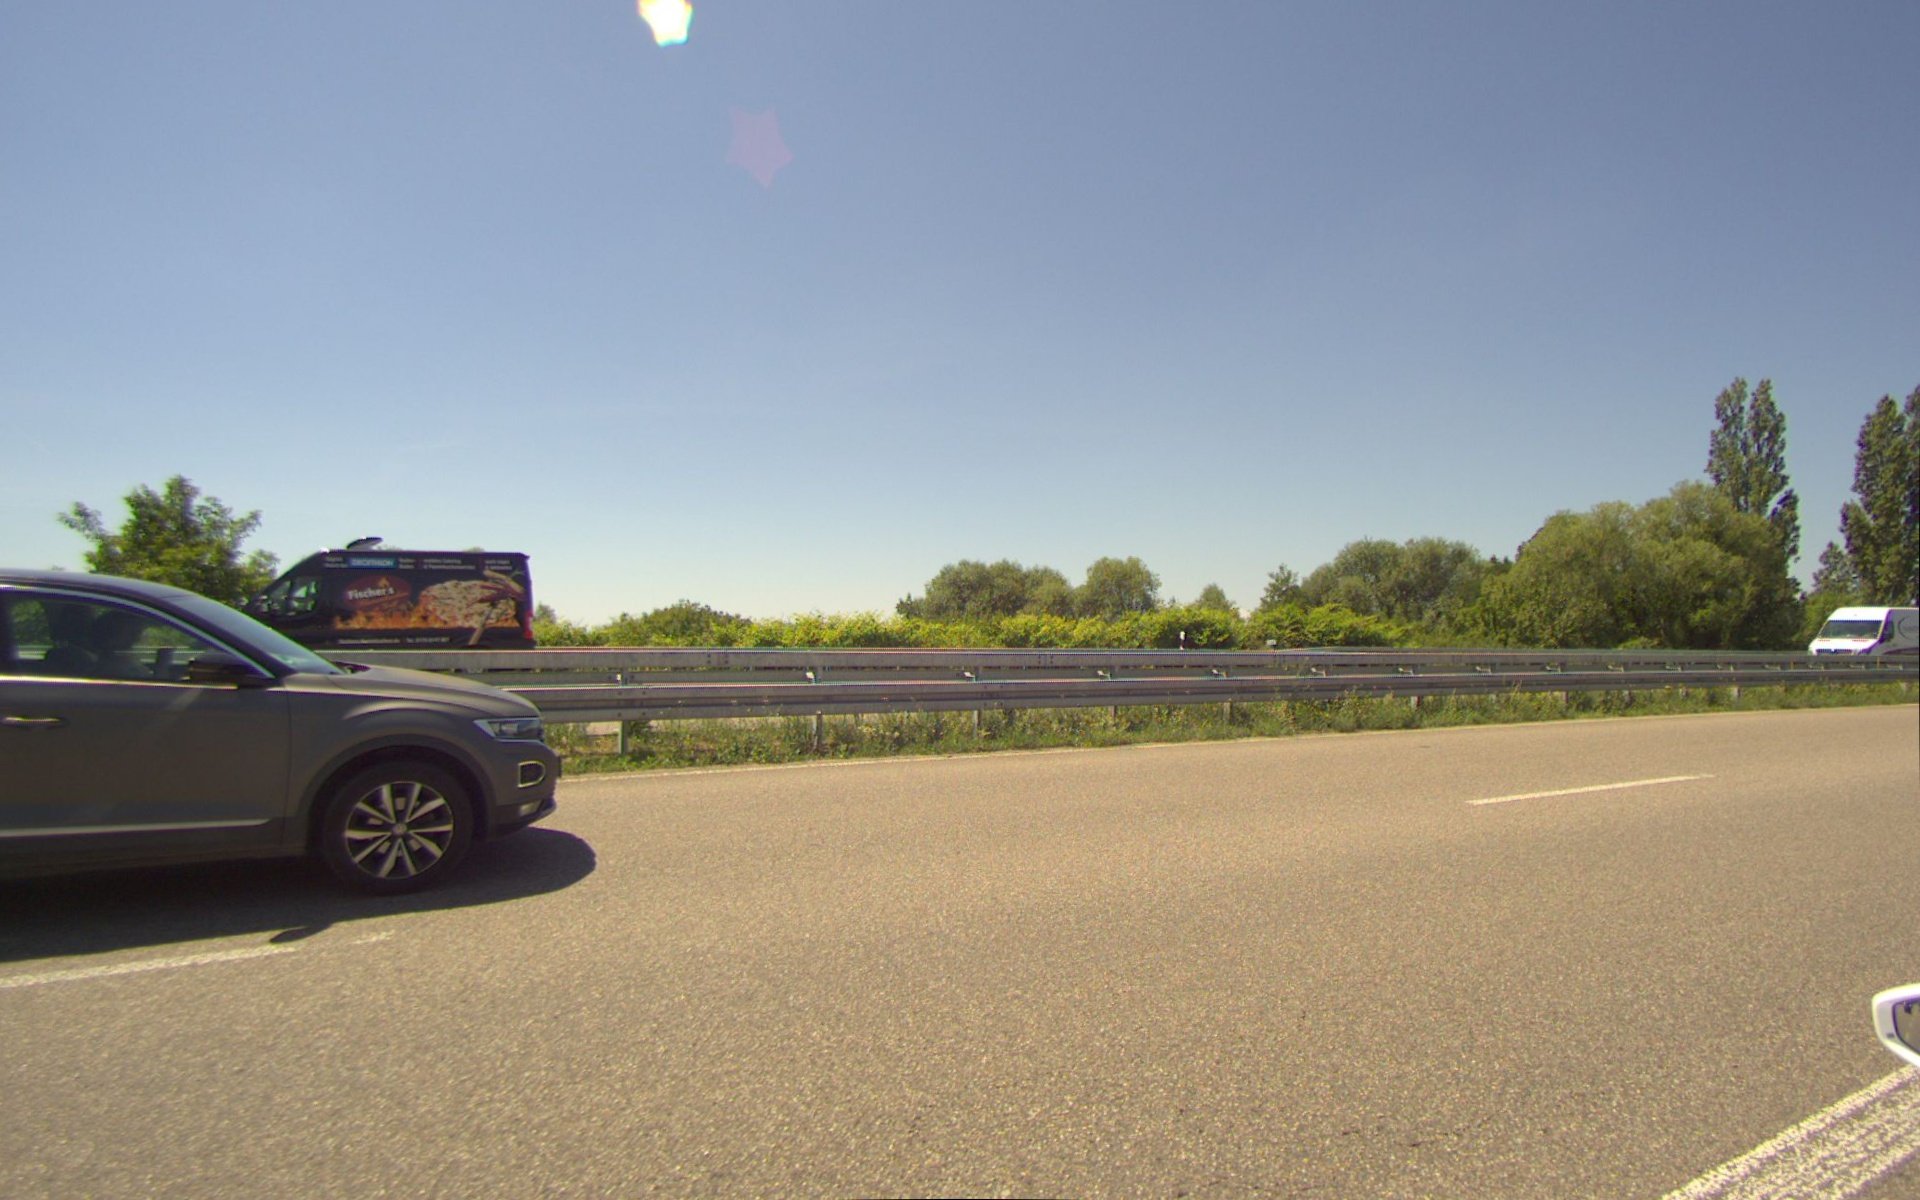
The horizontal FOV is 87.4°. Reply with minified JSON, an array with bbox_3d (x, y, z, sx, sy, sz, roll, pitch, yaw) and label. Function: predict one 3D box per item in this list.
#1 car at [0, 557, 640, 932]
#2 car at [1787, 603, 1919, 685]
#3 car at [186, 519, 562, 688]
[{"bbox_3d":[-4.116,0.604,5.129,4.419,1.550,1.832,2,-1,-31],"label":"car"},{"bbox_3d":[34.163,1.700,37.605,7.129,2.810,2.271,3,-2,-27],"label":"car"},{"bbox_3d":[-10.447,0.192,18.474,5.555,2.672,2.196,3,-2,-28],"label":"car"}]
